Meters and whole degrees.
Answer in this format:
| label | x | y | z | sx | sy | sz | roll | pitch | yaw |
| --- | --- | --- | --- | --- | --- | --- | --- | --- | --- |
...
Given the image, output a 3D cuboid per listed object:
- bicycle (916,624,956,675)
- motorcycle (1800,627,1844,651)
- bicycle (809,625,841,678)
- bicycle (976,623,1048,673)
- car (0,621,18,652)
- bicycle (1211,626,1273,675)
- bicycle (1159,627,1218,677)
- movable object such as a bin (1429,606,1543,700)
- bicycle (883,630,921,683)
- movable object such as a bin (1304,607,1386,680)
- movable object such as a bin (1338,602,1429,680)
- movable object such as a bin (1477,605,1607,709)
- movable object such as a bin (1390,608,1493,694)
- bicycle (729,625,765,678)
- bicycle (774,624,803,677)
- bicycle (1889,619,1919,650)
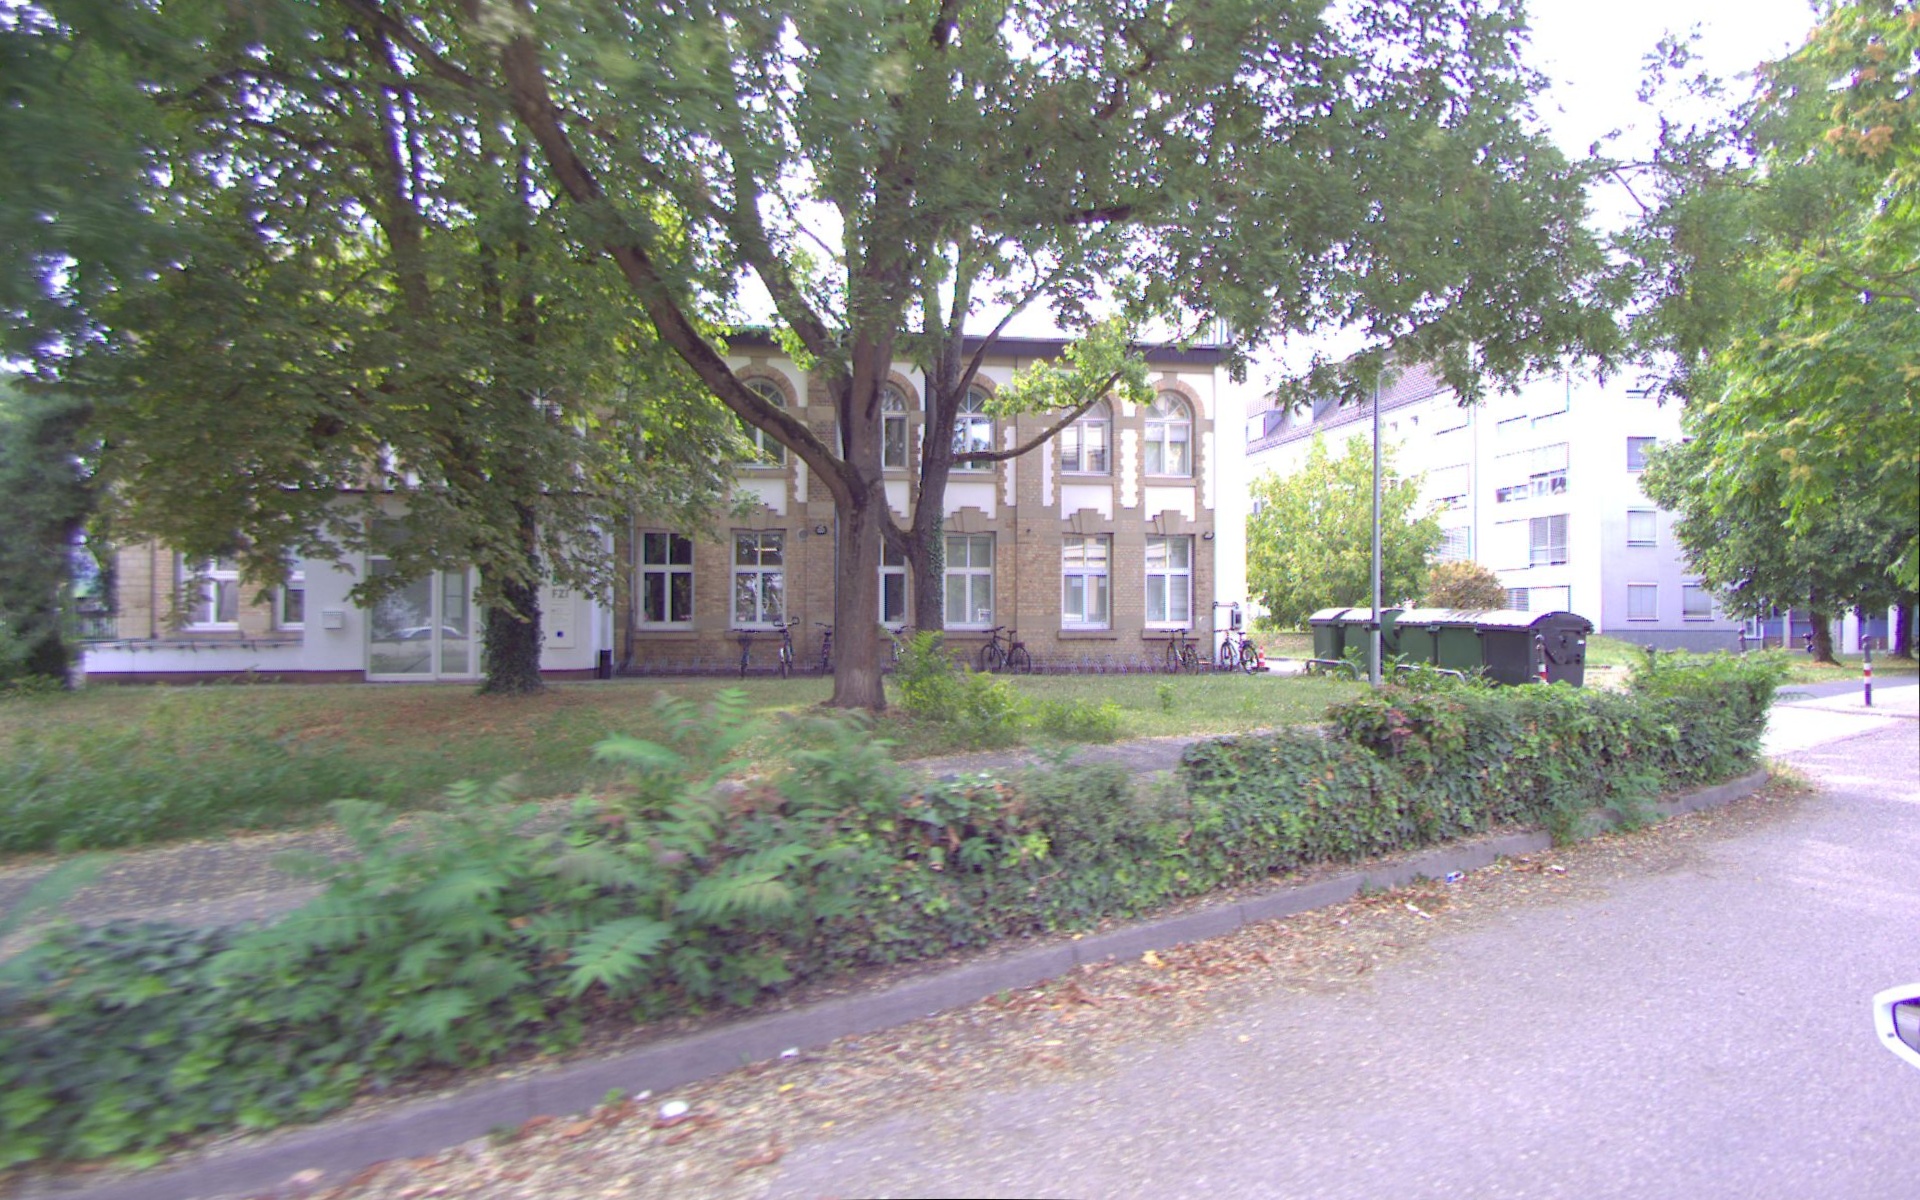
| label | x | y | z | sx | sy | sz | roll | pitch | yaw |
| --- | --- | --- | --- | --- | --- | --- | --- | --- | --- |
| bicycle | -0.542 | 1.065 | 22.213 | 0.584 | 1.057 | 1.974 | -1 | -1 | -10 |
| motorcycle | 47.477 | 2.151 | 55.321 | 2.108 | 1.307 | 0.667 | 0 | 0 | -10 |
| bicycle | -2.957 | 1.097 | 21.893 | 0.584 | 1.057 | 1.974 | -1 | -1 | -10 |
| bicycle | 1.153 | 1.066 | 22.828 | 0.588 | 1.057 | 1.960 | -1 | -1 | -33 |
| car | -54.387 | 2.041 | 56.411 | 1.644 | 1.655 | 3.867 | 0 | -1 | -36 |
| bicycle | 6.518 | 1.140 | 23.316 | 0.584 | 1.057 | 1.974 | -1 | -1 | -10 |
| bicycle | 5.211 | 1.163 | 23.038 | 0.584 | 1.057 | 1.974 | -1 | -1 | -10 |
| movable object such as a bin | 8.496 | 0.826 | 16.273 | 1.101 | 1.449 | 1.282 | 0 | 0 | -8 |
| bicycle | -1.293 | 1.214 | 22.031 | 0.584 | 1.057 | 1.974 | -1 | -1 | -10 |
| movable object such as a bin | 7.871 | 0.865 | 20.587 | 1.101 | 1.449 | 1.282 | 0 | 0 | -8 |
| movable object such as a bin | 8.073 | 0.762 | 19.214 | 1.101 | 1.449 | 1.282 | 0 | 0 | -8 |
| movable object such as a bin | 8.492 | 0.803 | 14.714 | 1.101 | 1.449 | 1.282 | 0 | 0 | -8 |
| movable object such as a bin | 8.430 | 0.861 | 17.639 | 1.101 | 1.449 | 1.282 | 0 | 0 | -8 |
| bicycle | -4.615 | 1.091 | 21.674 | 0.585 | 1.057 | 1.970 | -1 | -1 | -17 |
| bicycle | -3.709 | 1.070 | 21.717 | 0.584 | 1.057 | 1.974 | -1 | -1 | -10 |
| bicycle | 38.025 | 1.382 | 40.078 | 1.872 | 1.197 | 0.648 | 0 | 0 | -22 |
